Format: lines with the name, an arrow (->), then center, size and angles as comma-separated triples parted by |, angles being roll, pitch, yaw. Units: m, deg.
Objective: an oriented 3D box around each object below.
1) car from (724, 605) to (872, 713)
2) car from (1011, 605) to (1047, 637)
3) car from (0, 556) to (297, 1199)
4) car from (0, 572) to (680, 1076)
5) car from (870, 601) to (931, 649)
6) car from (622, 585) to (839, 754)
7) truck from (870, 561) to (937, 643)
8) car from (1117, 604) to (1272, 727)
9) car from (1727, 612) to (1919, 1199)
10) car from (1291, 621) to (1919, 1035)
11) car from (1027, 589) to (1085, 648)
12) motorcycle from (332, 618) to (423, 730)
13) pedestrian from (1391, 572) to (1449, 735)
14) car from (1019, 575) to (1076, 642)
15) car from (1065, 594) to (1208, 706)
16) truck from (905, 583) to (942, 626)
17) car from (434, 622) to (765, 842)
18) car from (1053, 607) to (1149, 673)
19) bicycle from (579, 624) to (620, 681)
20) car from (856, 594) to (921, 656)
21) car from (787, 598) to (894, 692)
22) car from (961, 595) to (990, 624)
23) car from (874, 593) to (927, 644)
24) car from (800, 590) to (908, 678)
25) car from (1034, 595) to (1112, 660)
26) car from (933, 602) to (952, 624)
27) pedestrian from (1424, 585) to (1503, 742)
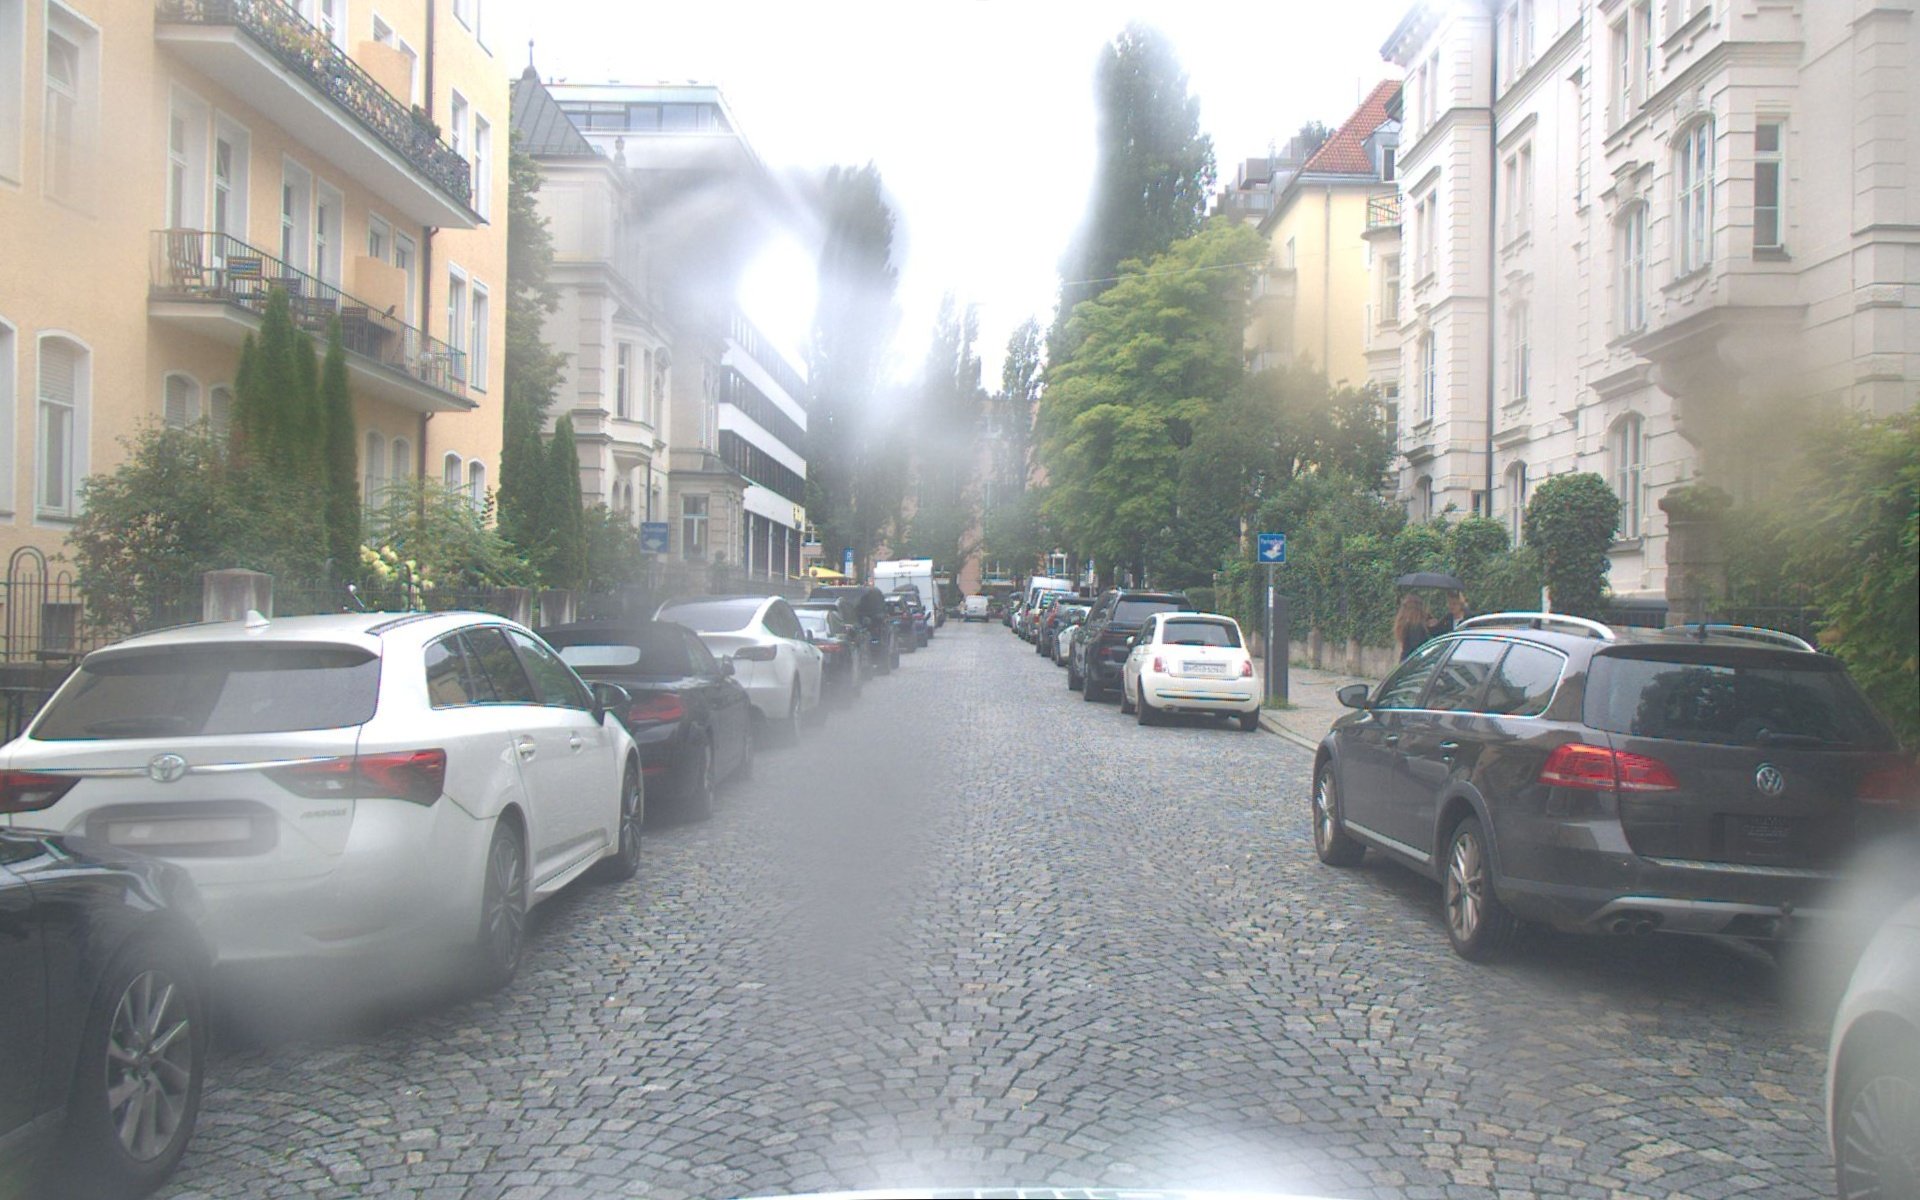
car -> -2.359, 0.841, 25.105 | 1.737, 1.454, 4.391 | 1, -1, 0
car -> 3.330, 1.007, 79.947 | 1.567, 1.512, 3.478 | 1, -1, 0
car -> -2.851, 0.691, 2.508 | 1.814, 1.614, 4.747 | 1, -1, -1
car -> -2.615, 0.771, 7.706 | 1.737, 1.563, 4.540 | -4, -1, 0
car -> -1.943, 0.827, 54.893 | 1.900, 1.485, 4.057 | 1, -1, -1
car -> -2.480, 0.726, 18.925 | 1.737, 1.676, 4.391 | 1, -1, 1
truck -> -2.194, 0.062, 66.198 | 2.457, 3.085, 6.383 | -1, 0, -1
car -> 3.195, 0.864, 23.140 | 1.597, 1.495, 3.659 | 3, -1, 0
car -> 2.828, 0.785, 2.685 | 1.471, 1.497, 3.796 | 2, -1, 2
car -> 3.040, 0.891, 8.517 | 1.615, 1.446, 4.631 | 4, -1, -1
car -> 3.549, 0.693, 61.781 | 1.763, 1.983, 4.859 | 3, -1, 0
motorcycle -> -6.646, 0.823, 18.937 | 0.481, 1.215, 1.579 | 0, 0, 0
pedestrian -> 5.387, 0.616, 19.401 | 0.563, 1.882, 0.682 | 0, 0, 8
car -> 3.507, 0.306, 67.264 | 1.857, 2.468, 5.610 | 4, 0, 0
car -> 2.926, 0.807, 28.483 | 1.836, 1.702, 5.490 | 1, -1, 0
truck -> -2.048, 0.292, 94.944 | 1.952, 2.388, 4.068 | 1, -1, 0
car -> -2.585, 0.887, 12.895 | 1.738, 1.383, 4.389 | 1, -1, -2
car -> 3.285, 0.926, 39.301 | 1.738, 1.454, 4.388 | 1, -1, -2
bicycle -> -6.636, 0.961, 30.521 | 0.344, 1.020, 1.573 | 1, -1, 2
car -> -2.094, 0.735, 49.577 | 1.737, 1.748, 4.390 | 1, -1, 0
car -> -2.207, 0.828, 31.372 | 1.547, 1.618, 4.057 | -1, -1, 2
car -> 1.125, 0.695, 117.907 | 1.955, 1.970, 4.001 | 1, -1, 2
car -> -2.116, 0.650, 60.173 | 1.855, 1.781, 4.167 | 0, 0, -1
car -> -2.255, 0.700, 36.534 | 1.941, 1.768, 4.723 | 1, 0, 1
car -> 3.287, 0.789, 48.837 | 1.923, 1.790, 4.953 | 1, -1, 0
car -> -1.261, 0.953, 120.826 | 1.250, 1.568, 3.118 | 1, -1, 0
pedestrian -> 6.059, 0.755, 19.911 | 0.619, 1.840, 0.656 | 1, -1, -23
